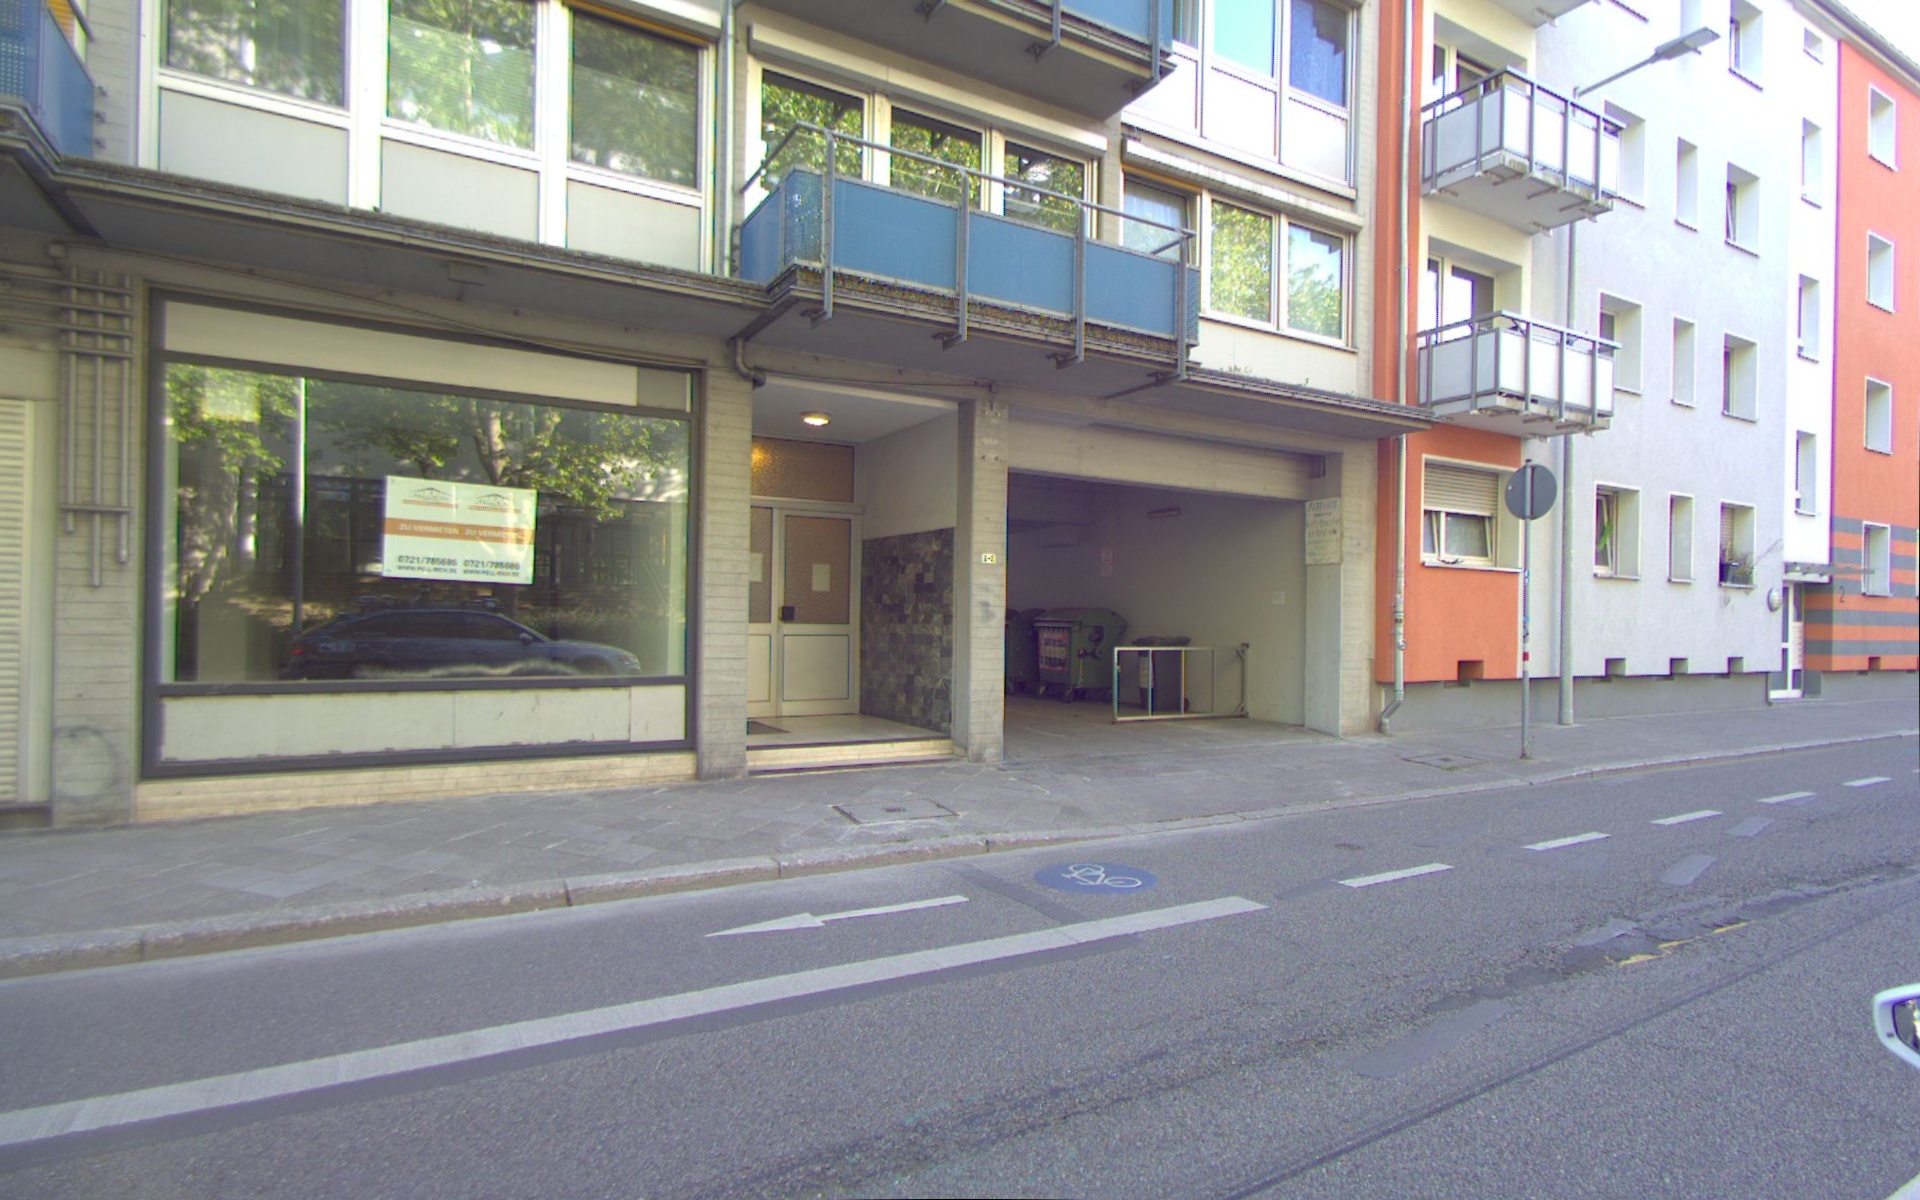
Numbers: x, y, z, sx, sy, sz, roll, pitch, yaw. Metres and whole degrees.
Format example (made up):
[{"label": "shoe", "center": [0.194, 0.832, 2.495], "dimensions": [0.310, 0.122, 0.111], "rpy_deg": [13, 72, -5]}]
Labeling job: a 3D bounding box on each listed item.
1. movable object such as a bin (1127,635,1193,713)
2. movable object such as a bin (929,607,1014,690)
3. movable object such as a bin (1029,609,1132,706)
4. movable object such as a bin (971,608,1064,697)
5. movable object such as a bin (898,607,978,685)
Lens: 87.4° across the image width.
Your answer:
[{"label": "movable object such as a bin", "center": [2.880, 1.052, 14.494], "dimensions": [0.667, 1.079, 0.639], "rpy_deg": [1, 0, -30]}, {"label": "movable object such as a bin", "center": [0.201, 0.871, 18.462], "dimensions": [1.116, 1.444, 1.201], "rpy_deg": [1, 0, -30]}, {"label": "movable object such as a bin", "center": [1.883, 0.869, 15.804], "dimensions": [1.116, 1.444, 1.201], "rpy_deg": [1, 0, -30]}, {"label": "movable object such as a bin", "center": [0.971, 0.864, 17.163], "dimensions": [1.116, 1.444, 1.201], "rpy_deg": [1, 0, -30]}, {"label": "movable object such as a bin", "center": [-0.447, 0.877, 19.610], "dimensions": [1.116, 1.444, 1.201], "rpy_deg": [1, 0, -30]}]
